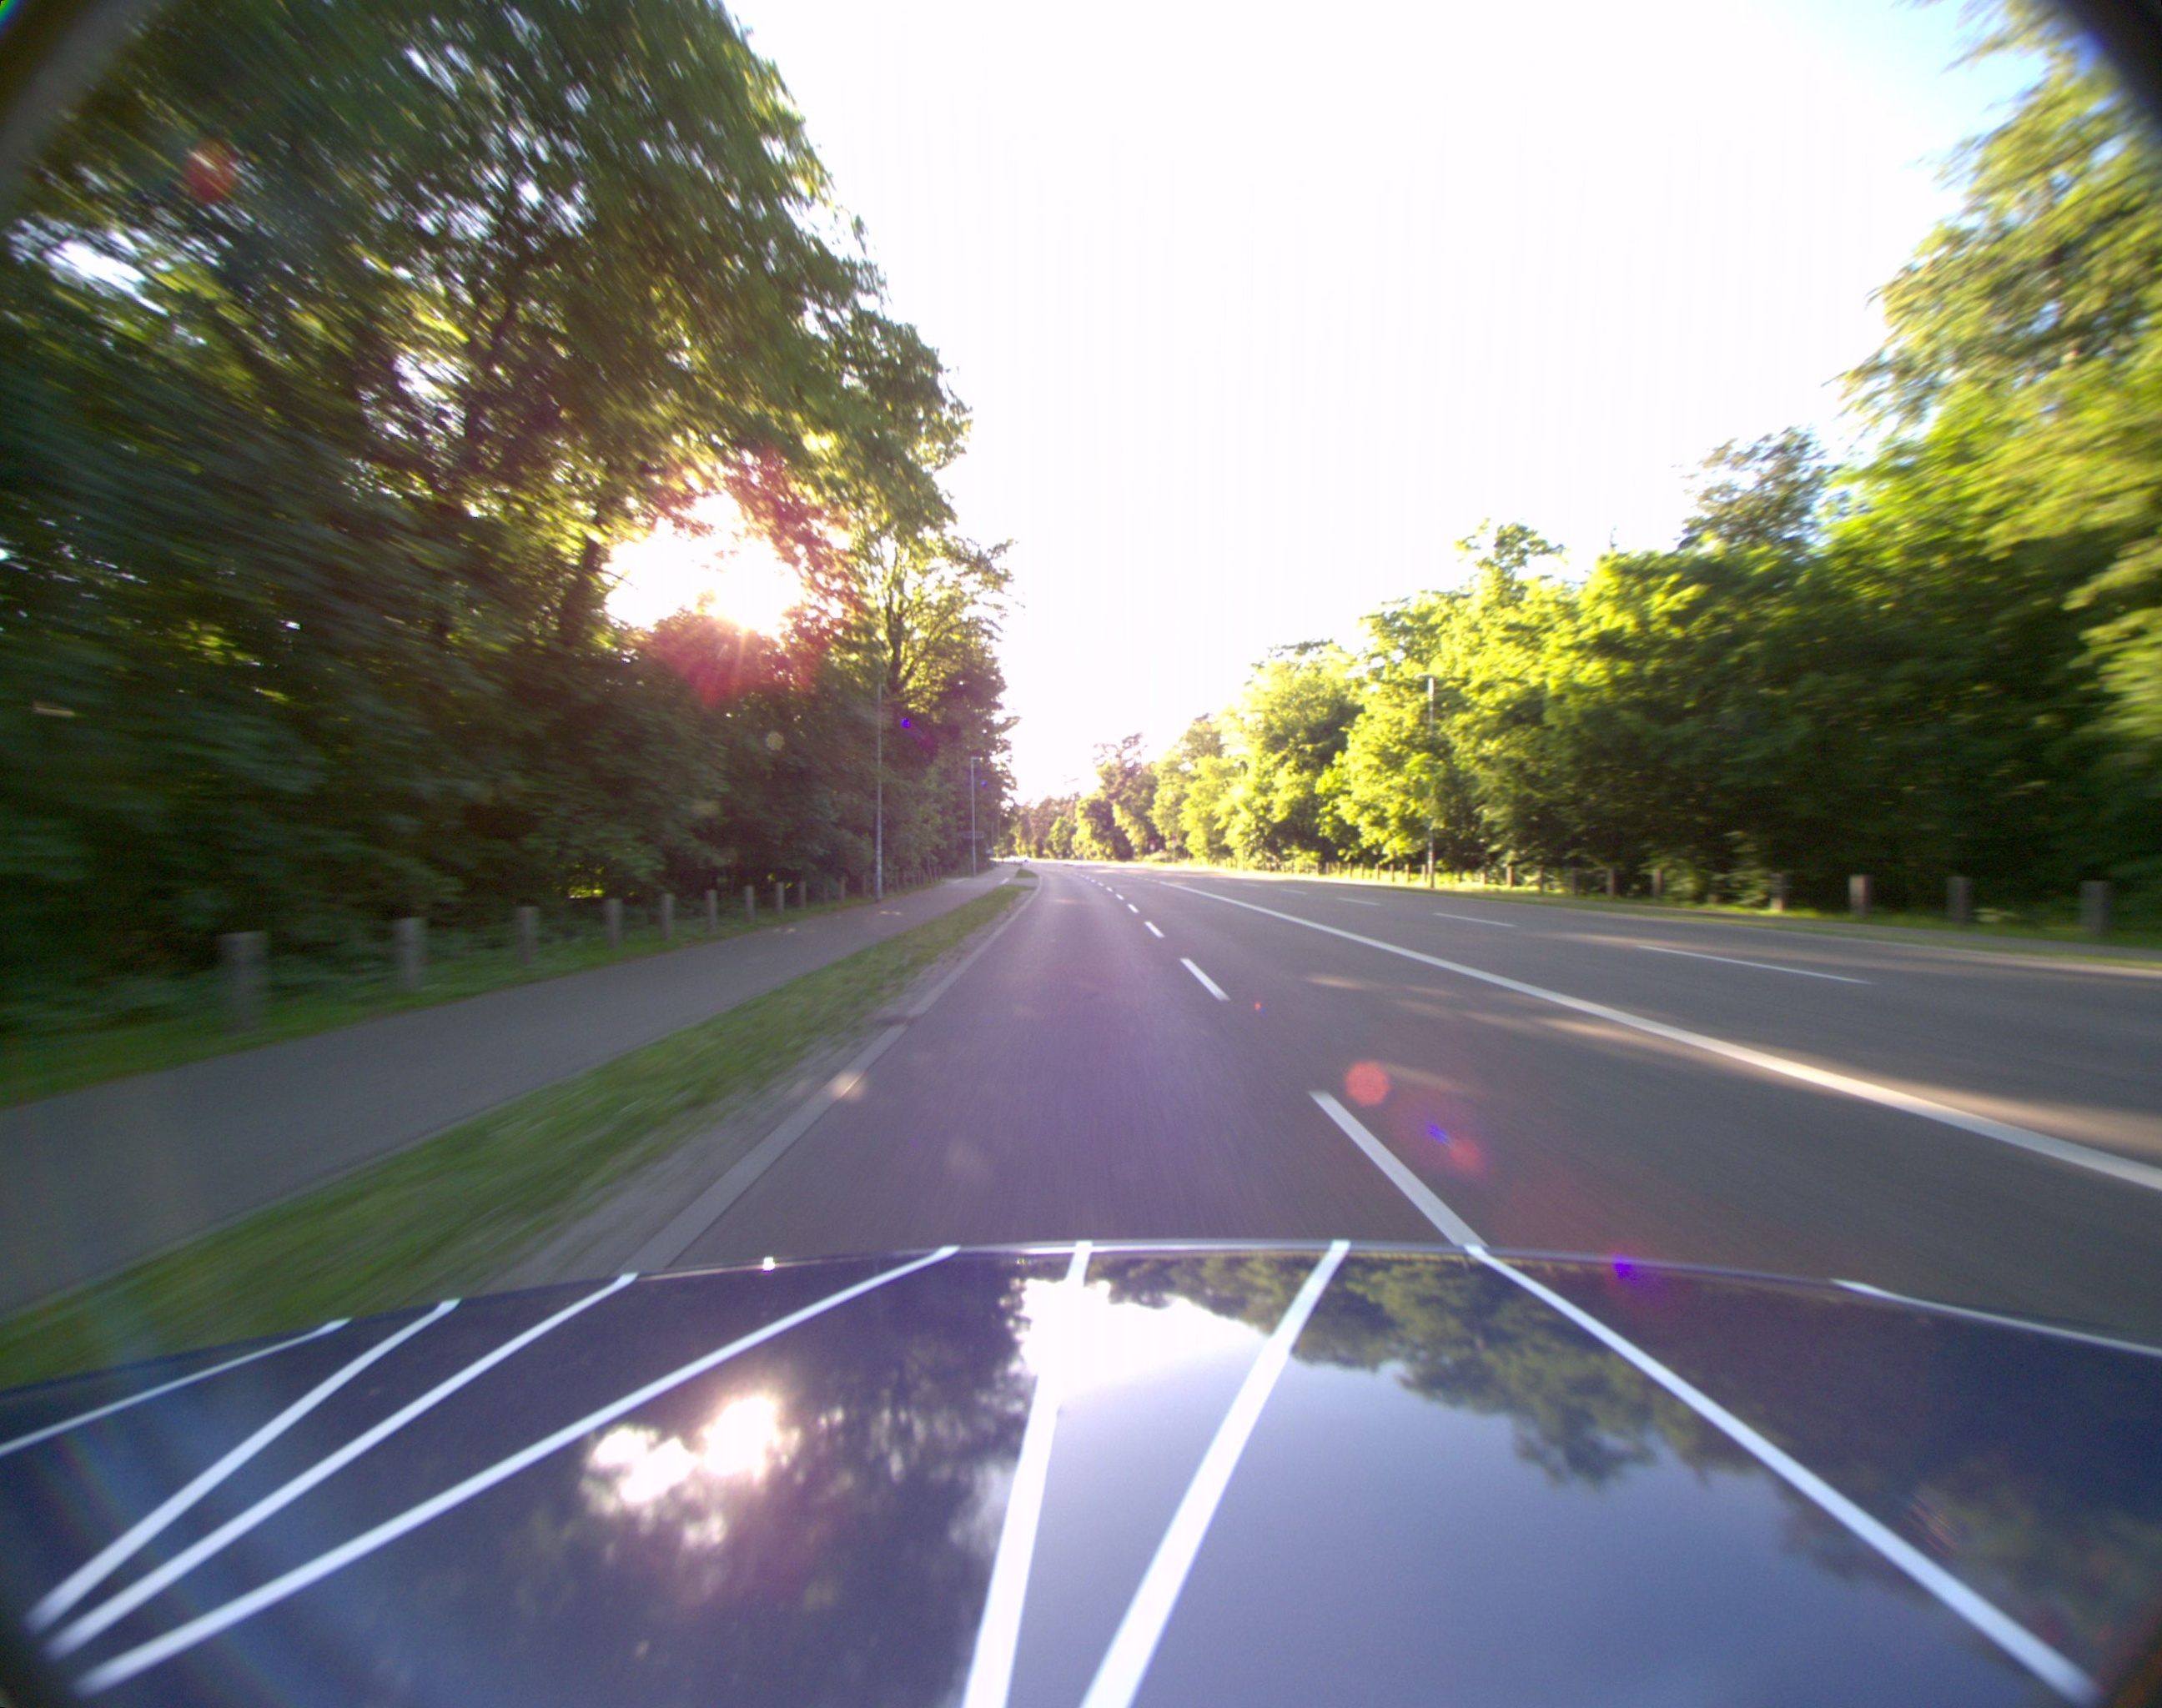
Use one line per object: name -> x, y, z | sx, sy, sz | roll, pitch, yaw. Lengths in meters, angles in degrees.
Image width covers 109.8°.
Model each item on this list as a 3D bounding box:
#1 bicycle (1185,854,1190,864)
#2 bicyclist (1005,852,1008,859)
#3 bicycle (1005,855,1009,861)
bicycle -> 11.918, 0.558, 85.288 | 0.402, 1.125, 2.220 | -2, 1, 5
bicyclist -> -13.430, 0.213, 137.601 | 0.515, 1.260, 0.497 | -1, 1, -10
bicycle -> -13.436, 0.738, 137.804 | 0.609, 1.051, 2.872 | -1, 0, -10
